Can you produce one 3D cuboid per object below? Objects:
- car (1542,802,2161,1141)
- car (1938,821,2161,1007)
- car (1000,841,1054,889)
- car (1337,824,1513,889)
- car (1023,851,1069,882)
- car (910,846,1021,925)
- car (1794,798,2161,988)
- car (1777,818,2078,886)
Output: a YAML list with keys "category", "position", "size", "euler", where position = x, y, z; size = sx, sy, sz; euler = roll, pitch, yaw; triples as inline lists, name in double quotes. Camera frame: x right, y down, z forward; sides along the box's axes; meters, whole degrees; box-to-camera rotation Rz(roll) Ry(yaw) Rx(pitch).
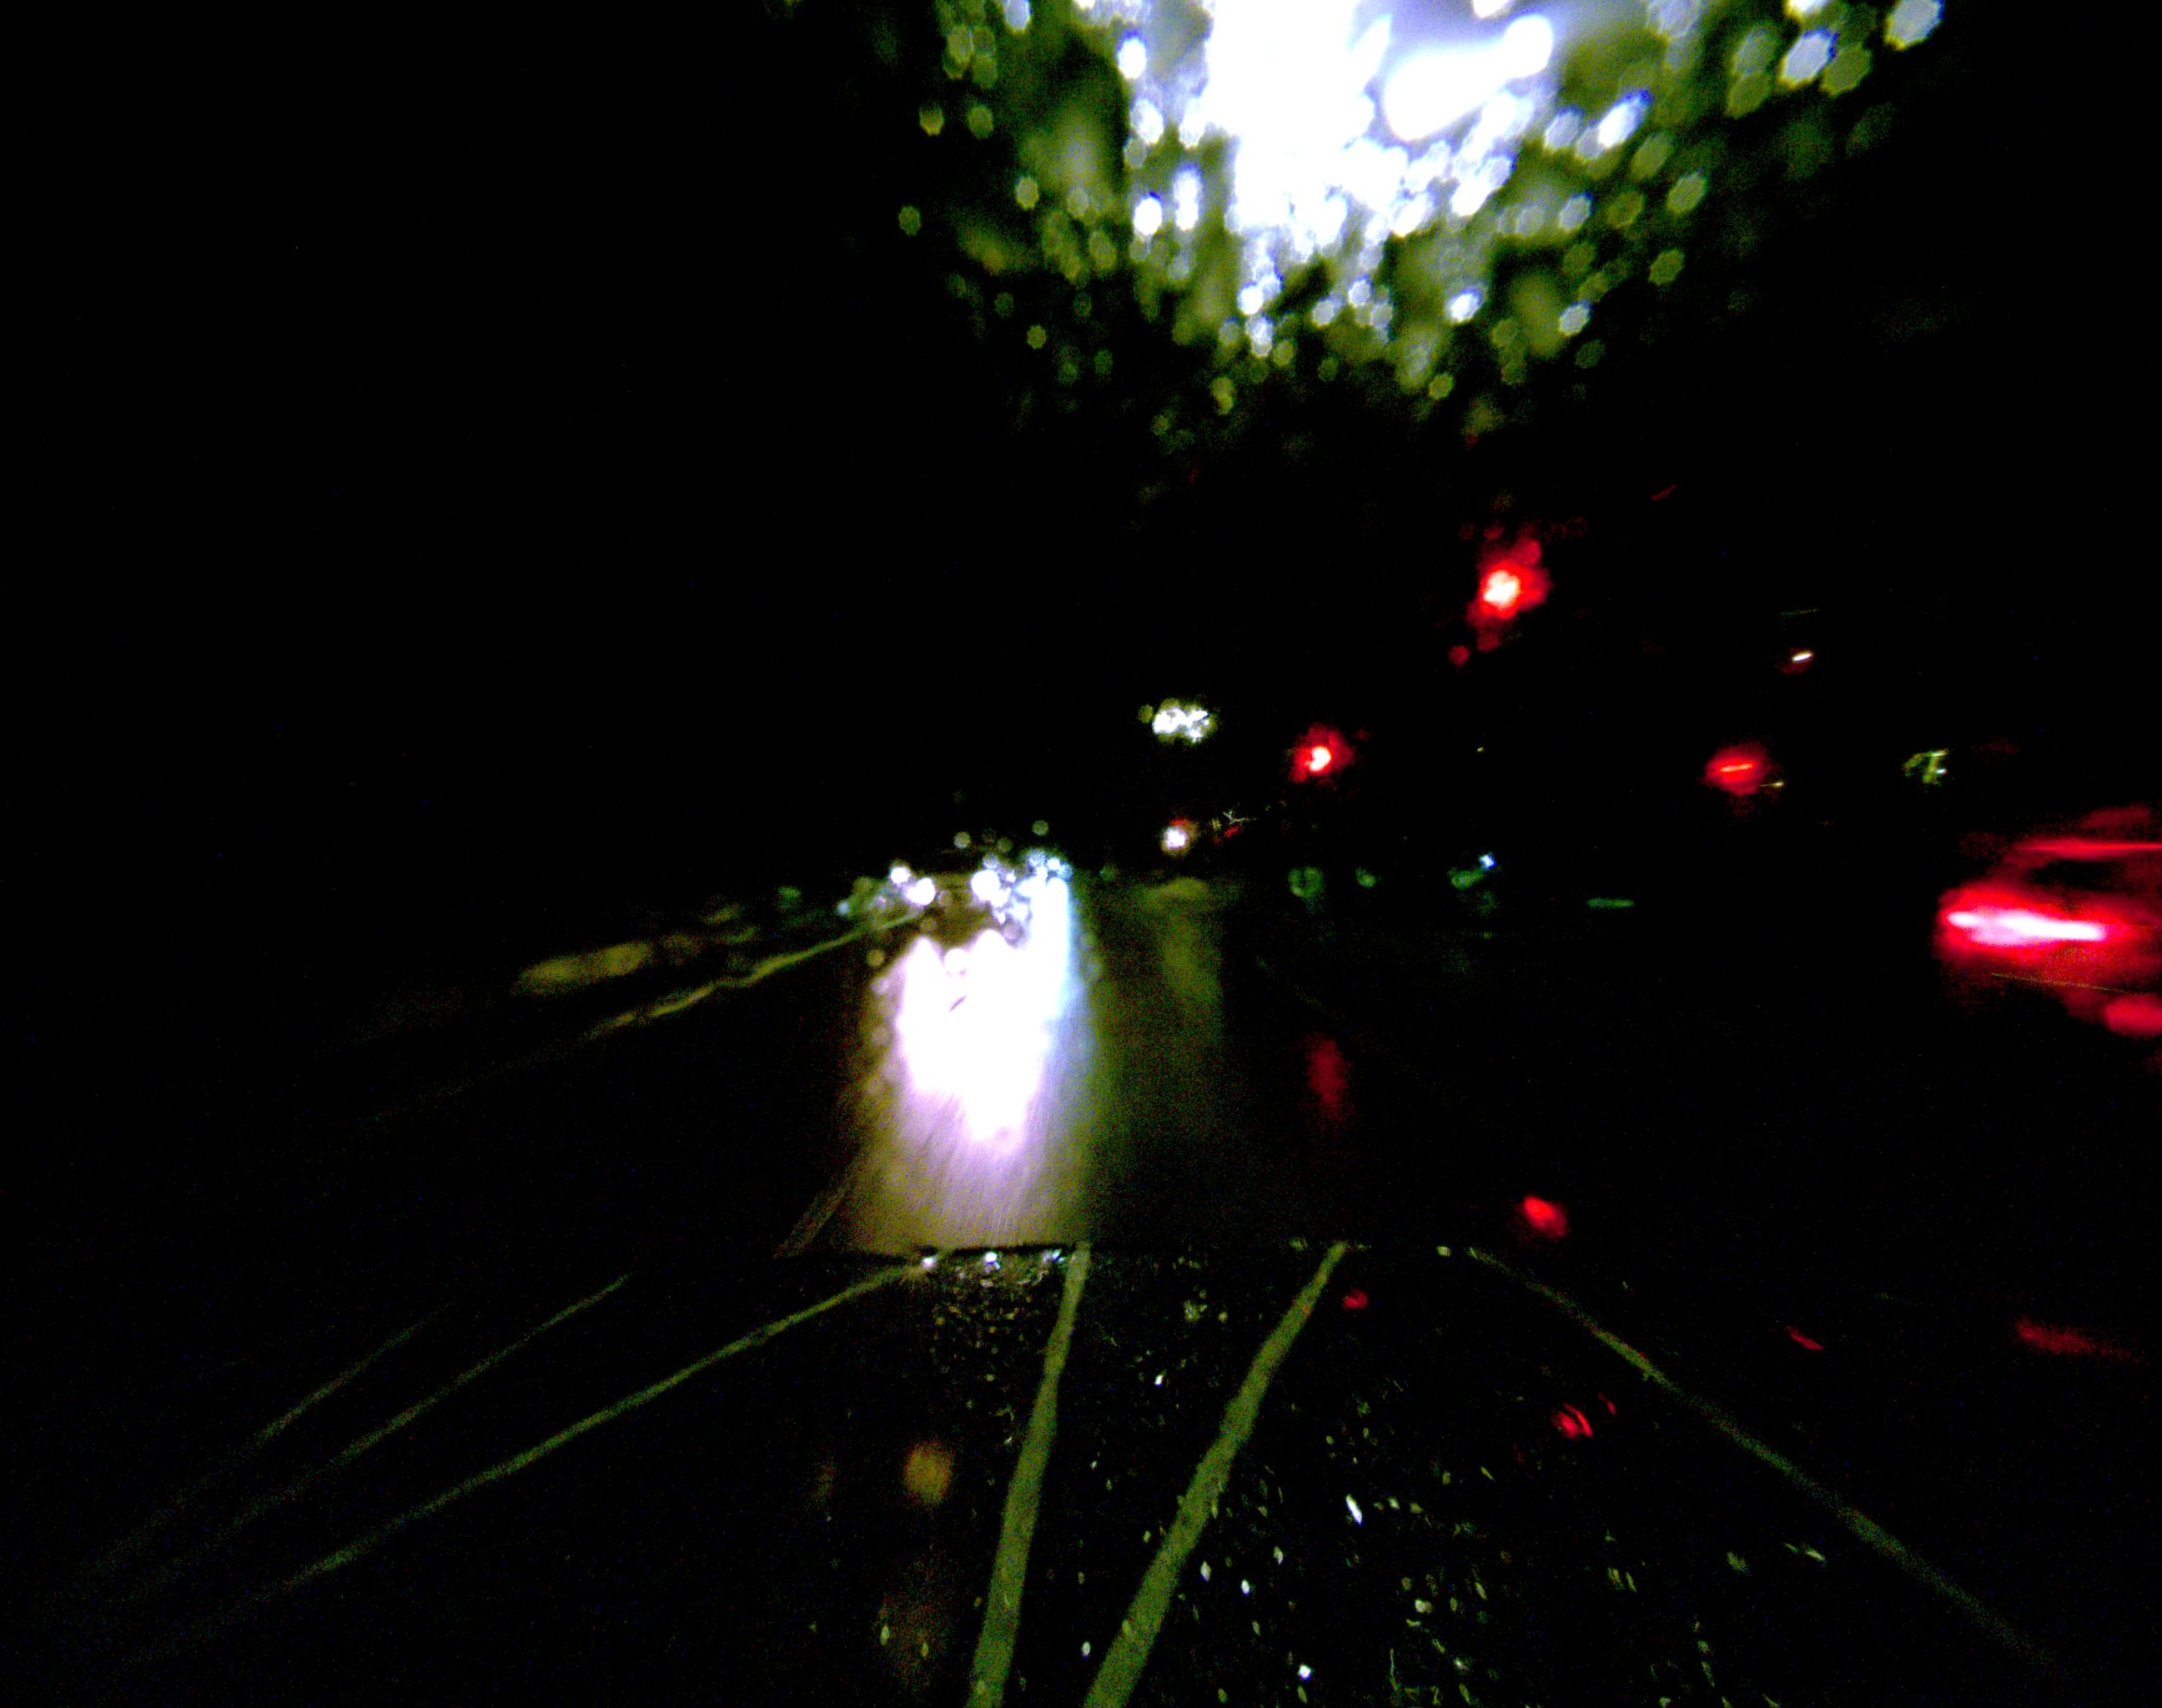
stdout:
- category: "car"
  position: [6.356, 0.523, 6.343]
  size: [1.998, 1.688, 5.012]
  euler: [-3, 1, 1]
- category: "car"
  position: [9.662, 0.476, 5.979]
  size: [1.827, 1.444, 3.601]
  euler: [-3, 1, 2]
- category: "car"
  position: [-2.221, 0.396, 32.143]
  size: [1.794, 1.802, 4.198]
  euler: [-3, 1, 1]
- category: "car"
  position: [10.560, 0.104, 23.515]
  size: [4.512, 1.833, 2.004]
  euler: [-2, 1, 41]
- category: "car"
  position: [-2.019, 0.682, 45.066]
  size: [1.998, 1.544, 4.694]
  euler: [-3, 1, 5]
- category: "car"
  position: [-2.657, 0.650, 18.705]
  size: [1.878, 1.579, 4.888]
  euler: [-3, 1, 0]
- category: "car"
  position: [9.973, 0.260, 6.810]
  size: [2.364, 1.547, 5.159]
  euler: [-3, 0, 1]
- category: "car"
  position: [19.898, -0.028, 18.159]
  size: [4.494, 1.357, 1.668]
  euler: [-3, 1, 25]
